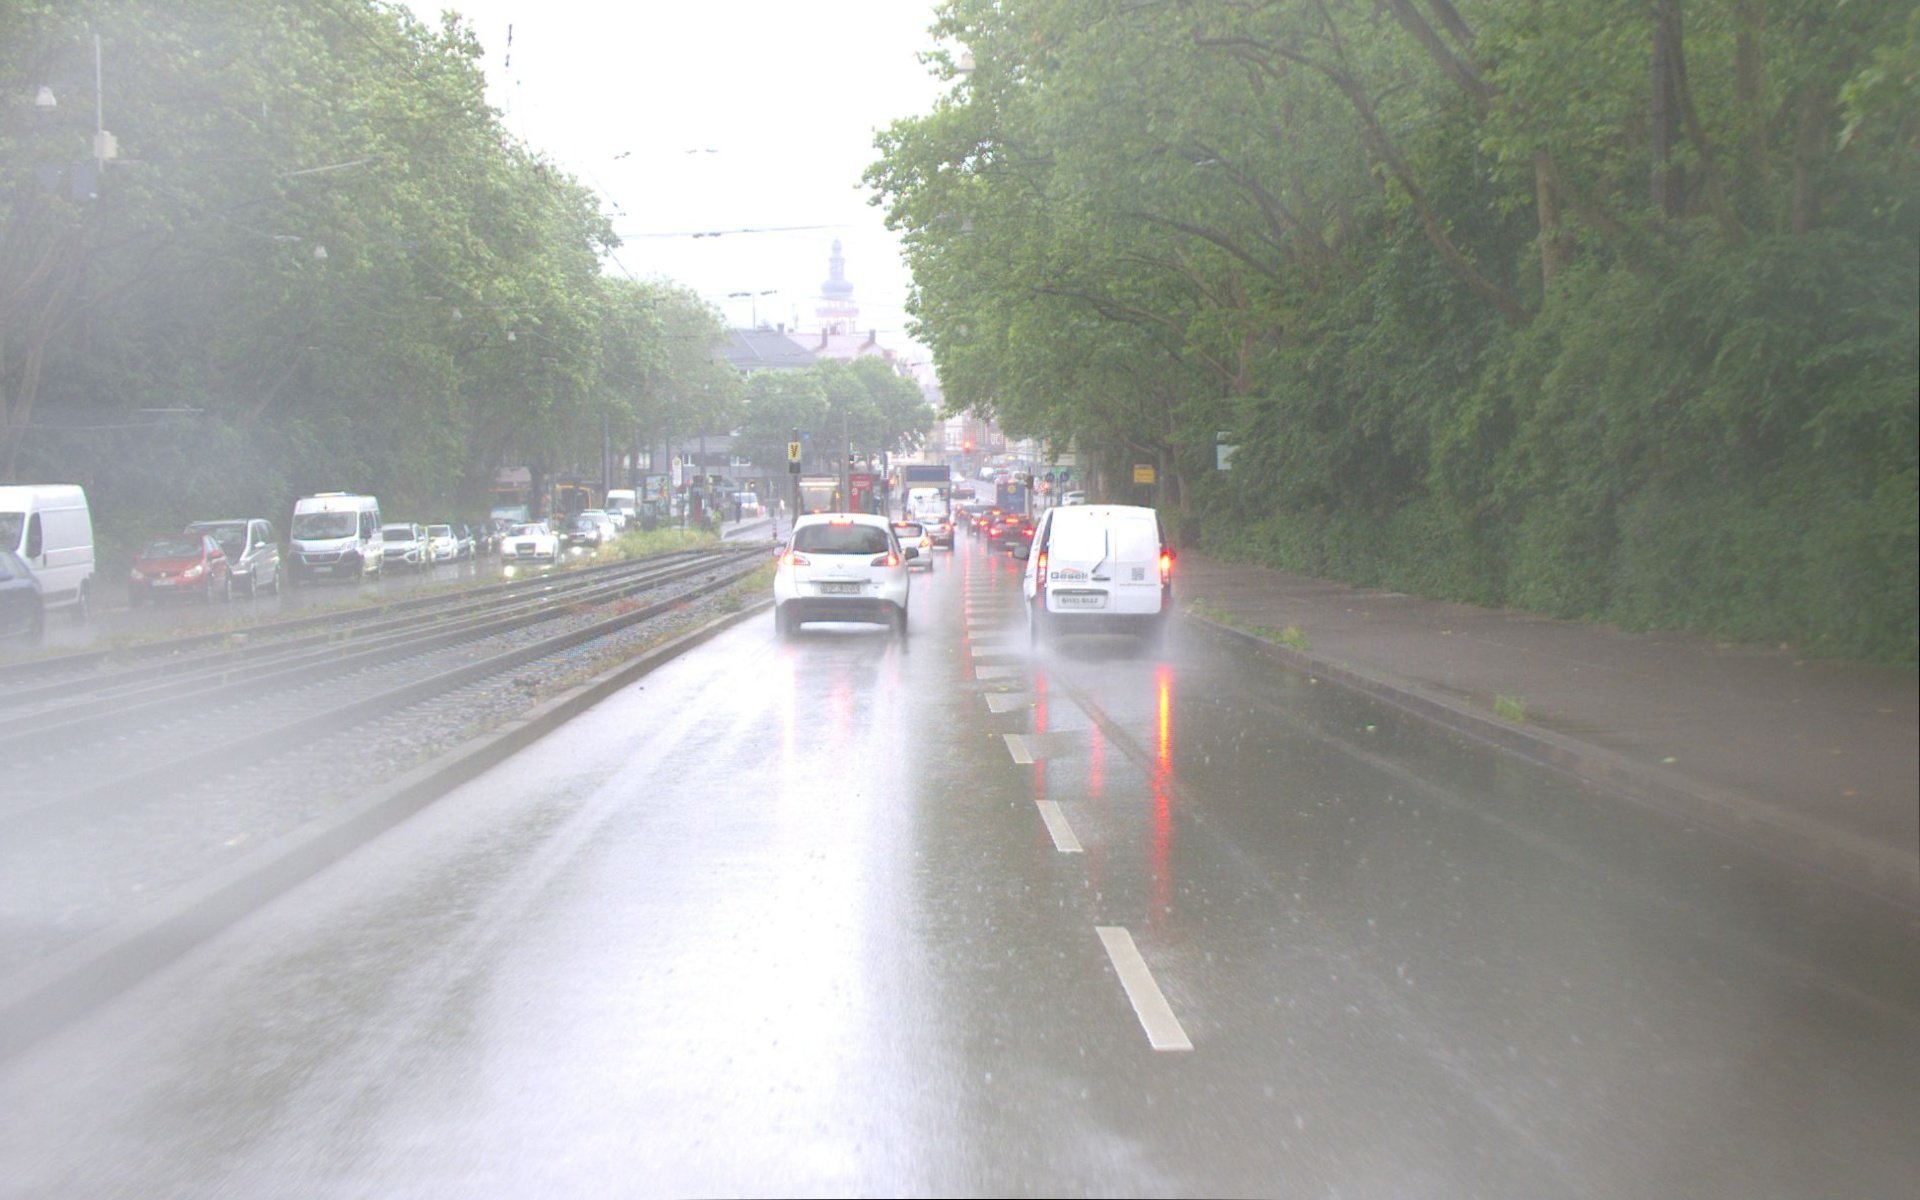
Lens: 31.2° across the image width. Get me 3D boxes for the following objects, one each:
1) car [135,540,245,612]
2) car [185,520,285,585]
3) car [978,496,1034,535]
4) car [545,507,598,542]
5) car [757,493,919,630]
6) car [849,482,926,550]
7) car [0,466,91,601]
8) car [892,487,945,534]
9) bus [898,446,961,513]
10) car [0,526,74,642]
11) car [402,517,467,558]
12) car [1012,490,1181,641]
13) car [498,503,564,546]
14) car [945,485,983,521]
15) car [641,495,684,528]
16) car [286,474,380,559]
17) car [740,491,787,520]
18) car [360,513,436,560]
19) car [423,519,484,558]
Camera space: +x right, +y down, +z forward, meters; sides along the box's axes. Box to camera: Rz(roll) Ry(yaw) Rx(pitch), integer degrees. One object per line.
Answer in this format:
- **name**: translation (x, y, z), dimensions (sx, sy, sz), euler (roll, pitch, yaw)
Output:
- **car**: translation (-16.795, -0.545, 75.155), dimensions (1.506, 1.345, 4.028), euler (-2, 3, -1)
- **car**: translation (-17.038, -1.144, 80.954), dimensions (1.506, 1.345, 4.028), euler (-2, 3, -1)
- **car**: translation (1.708, -3.116, 127.011), dimensions (1.993, 1.316, 4.000), euler (1, 3, 1)
- **car**: translation (-16.747, -3.285, 148.326), dimensions (1.805, 1.345, 4.264), euler (-2, 3, -1)
- **car**: translation (-1.641, -0.569, 47.461), dimensions (1.993, 1.711, 4.000), euler (1, 3, 1)
- **car**: translation (-2.040, -2.424, 97.934), dimensions (1.993, 1.820, 4.000), euler (1, 3, 1)
- **car**: translation (-16.487, -1.169, 59.125), dimensions (1.741, 2.161, 5.815), euler (-2, 3, -2)
- **car**: translation (-1.679, -3.647, 139.417), dimensions (1.993, 1.820, 4.000), euler (1, 3, 1)
- **bus**: translation (-1.793, -7.228, 205.056), dimensions (3.389, 3.823, 9.739), euler (1, 3, 1)
- **car**: translation (-13.115, -0.193, 45.515), dimensions (1.506, 1.396, 4.708), euler (-2, 3, 0)
- **car**: translation (-19.802, -2.372, 129.673), dimensions (1.805, 1.345, 4.264), euler (-2, 3, -1)
- **car**: translation (1.678, -0.477, 43.390), dimensions (1.993, 1.720, 4.000), euler (1, 3, 1)
- **car**: translation (-15.125, -2.675, 121.316), dimensions (1.805, 1.345, 4.264), euler (-2, 3, -1)
- **car**: translation (0.219, -5.297, 187.255), dimensions (1.993, 1.820, 4.000), euler (1, 3, 1)
- **car**: translation (-13.630, -4.067, 157.270), dimensions (1.804, 1.345, 4.265), euler (-2, 3, -6)
- **car**: translation (-17.438, -2.361, 95.773), dimensions (1.800, 2.214, 4.278), euler (-2, 3, -1)
- **car**: translation (-10.074, -4.876, 176.614), dimensions (1.805, 1.345, 4.264), euler (-2, 3, 4)
- **car**: translation (-18.290, -2.085, 112.031), dimensions (1.805, 1.345, 4.264), euler (-2, 3, -1)
- **car**: translation (-19.868, -2.442, 134.952), dimensions (1.805, 1.345, 4.264), euler (-2, 3, -1)
